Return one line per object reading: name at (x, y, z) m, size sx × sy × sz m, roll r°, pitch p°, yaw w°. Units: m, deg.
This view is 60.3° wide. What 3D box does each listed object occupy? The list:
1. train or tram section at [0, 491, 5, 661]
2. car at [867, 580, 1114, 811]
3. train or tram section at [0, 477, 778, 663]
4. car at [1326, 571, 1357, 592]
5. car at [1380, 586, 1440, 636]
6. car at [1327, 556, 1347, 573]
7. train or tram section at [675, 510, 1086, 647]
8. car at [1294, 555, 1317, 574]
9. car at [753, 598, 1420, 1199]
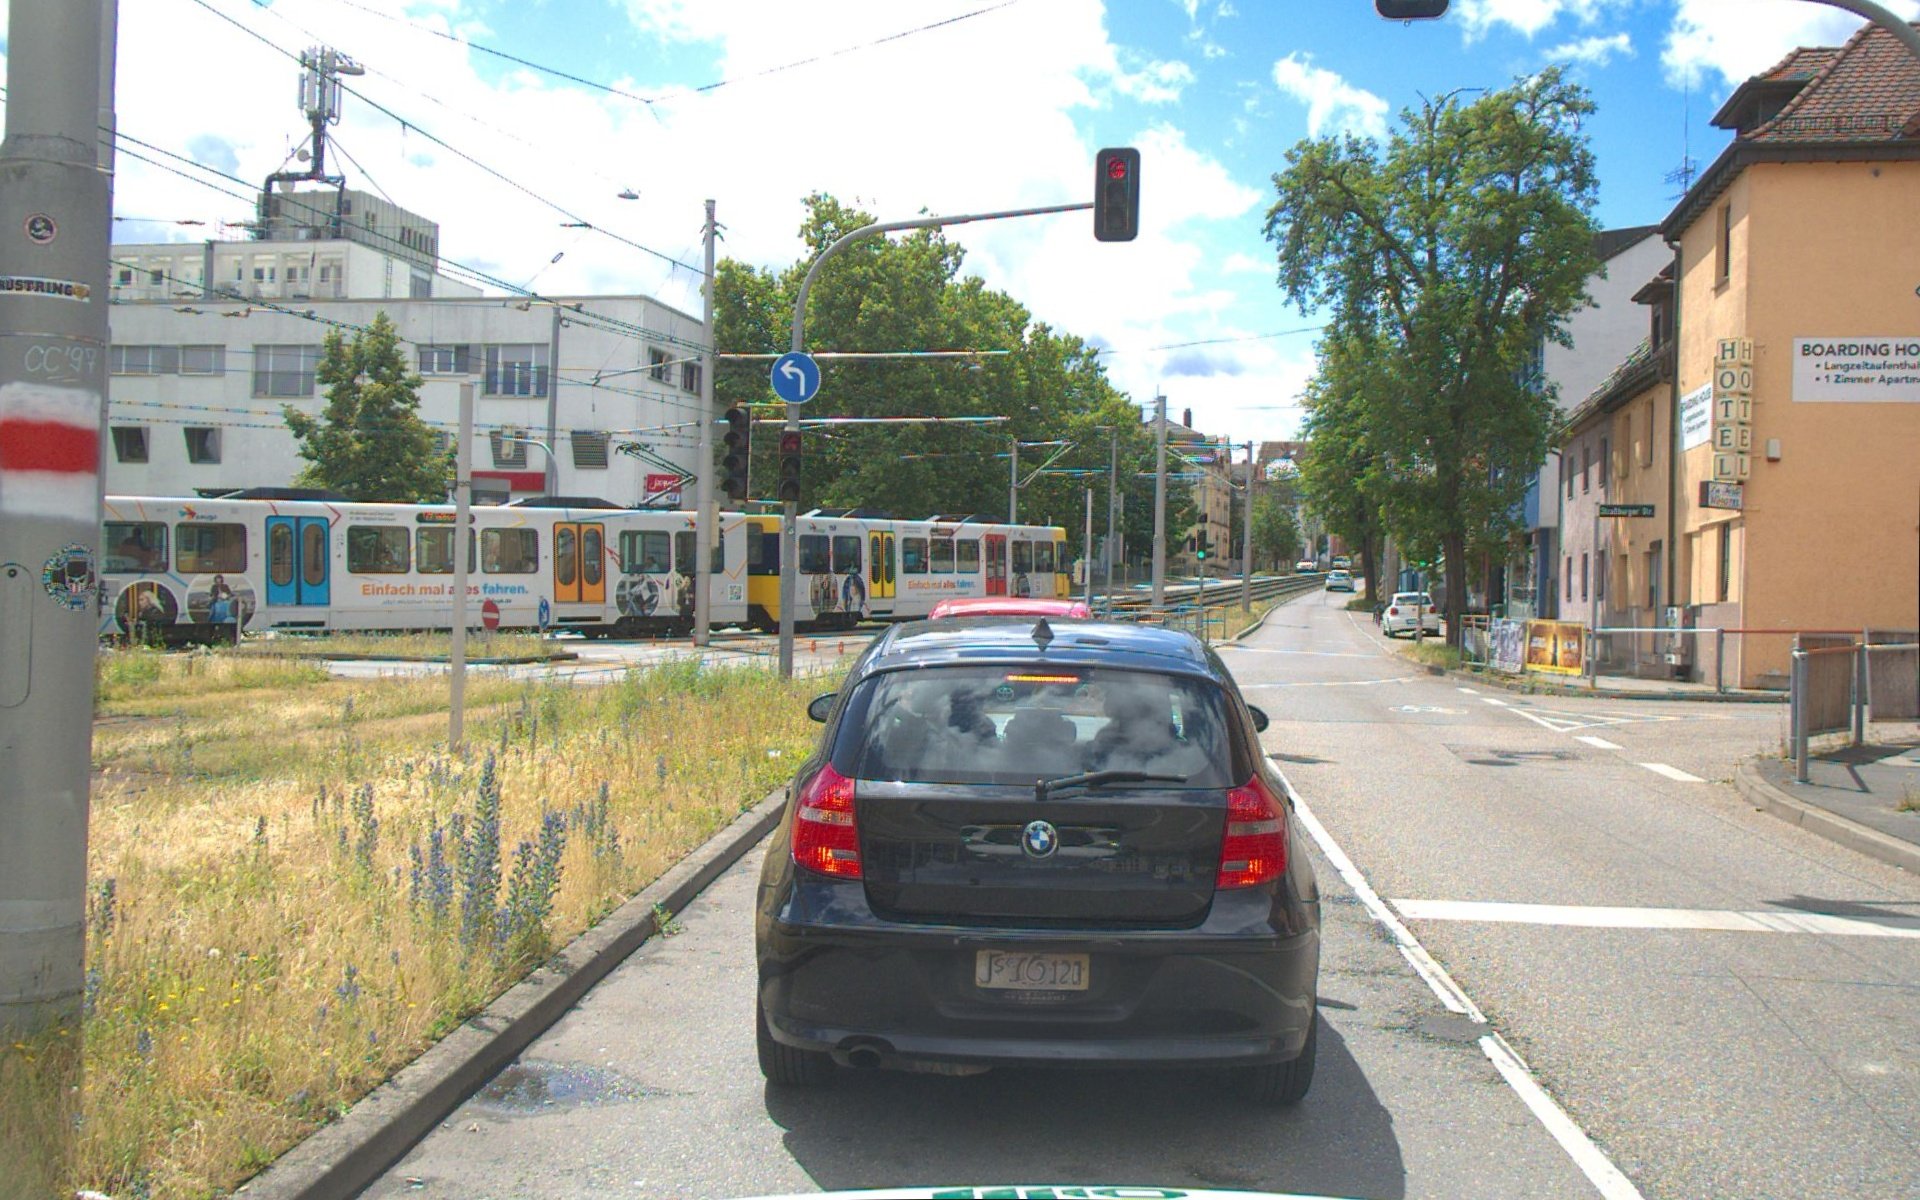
train or tram section at (-31.195, -0.541, 33.880) m, size 19.749 × 3.896 × 3.746 m, roll 0°, pitch -1°, yaw -15°
car at (0.379, 0.643, 12.808) m, size 1.590 × 1.499 × 4.002 m, roll 0°, pitch -1°, yaw 6°
train or tram section at (-14.333, -0.593, 42.149) m, size 20.419 × 3.947 × 3.711 m, roll 0°, pitch -1°, yaw -38°
car at (27.323, -1.304, 118.503) m, size 1.777 × 1.494 × 4.002 m, roll 0°, pitch 0°, yaw 19°
car at (15.228, 0.371, 56.077) m, size 1.749 × 1.624 × 4.003 m, roll 0°, pitch -1°, yaw 12°
car at (47.403, -4.471, 207.829) m, size 1.952 × 2.049 × 4.000 m, roll -1°, pitch -1°, yaw 21°
train or tram section at (-1.762, -0.517, 56.432) m, size 3.680 × 3.881 × 20.008 m, roll -1°, pitch -1°, yaw 30°
car at (39.402, -4.052, 188.402) m, size 1.952 × 2.049 × 4.000 m, roll -1°, pitch -1°, yaw 21°
car at (0.222, 0.761, 6.127) m, size 1.667 × 1.477 × 3.997 m, roll 0°, pitch -1°, yaw -3°
